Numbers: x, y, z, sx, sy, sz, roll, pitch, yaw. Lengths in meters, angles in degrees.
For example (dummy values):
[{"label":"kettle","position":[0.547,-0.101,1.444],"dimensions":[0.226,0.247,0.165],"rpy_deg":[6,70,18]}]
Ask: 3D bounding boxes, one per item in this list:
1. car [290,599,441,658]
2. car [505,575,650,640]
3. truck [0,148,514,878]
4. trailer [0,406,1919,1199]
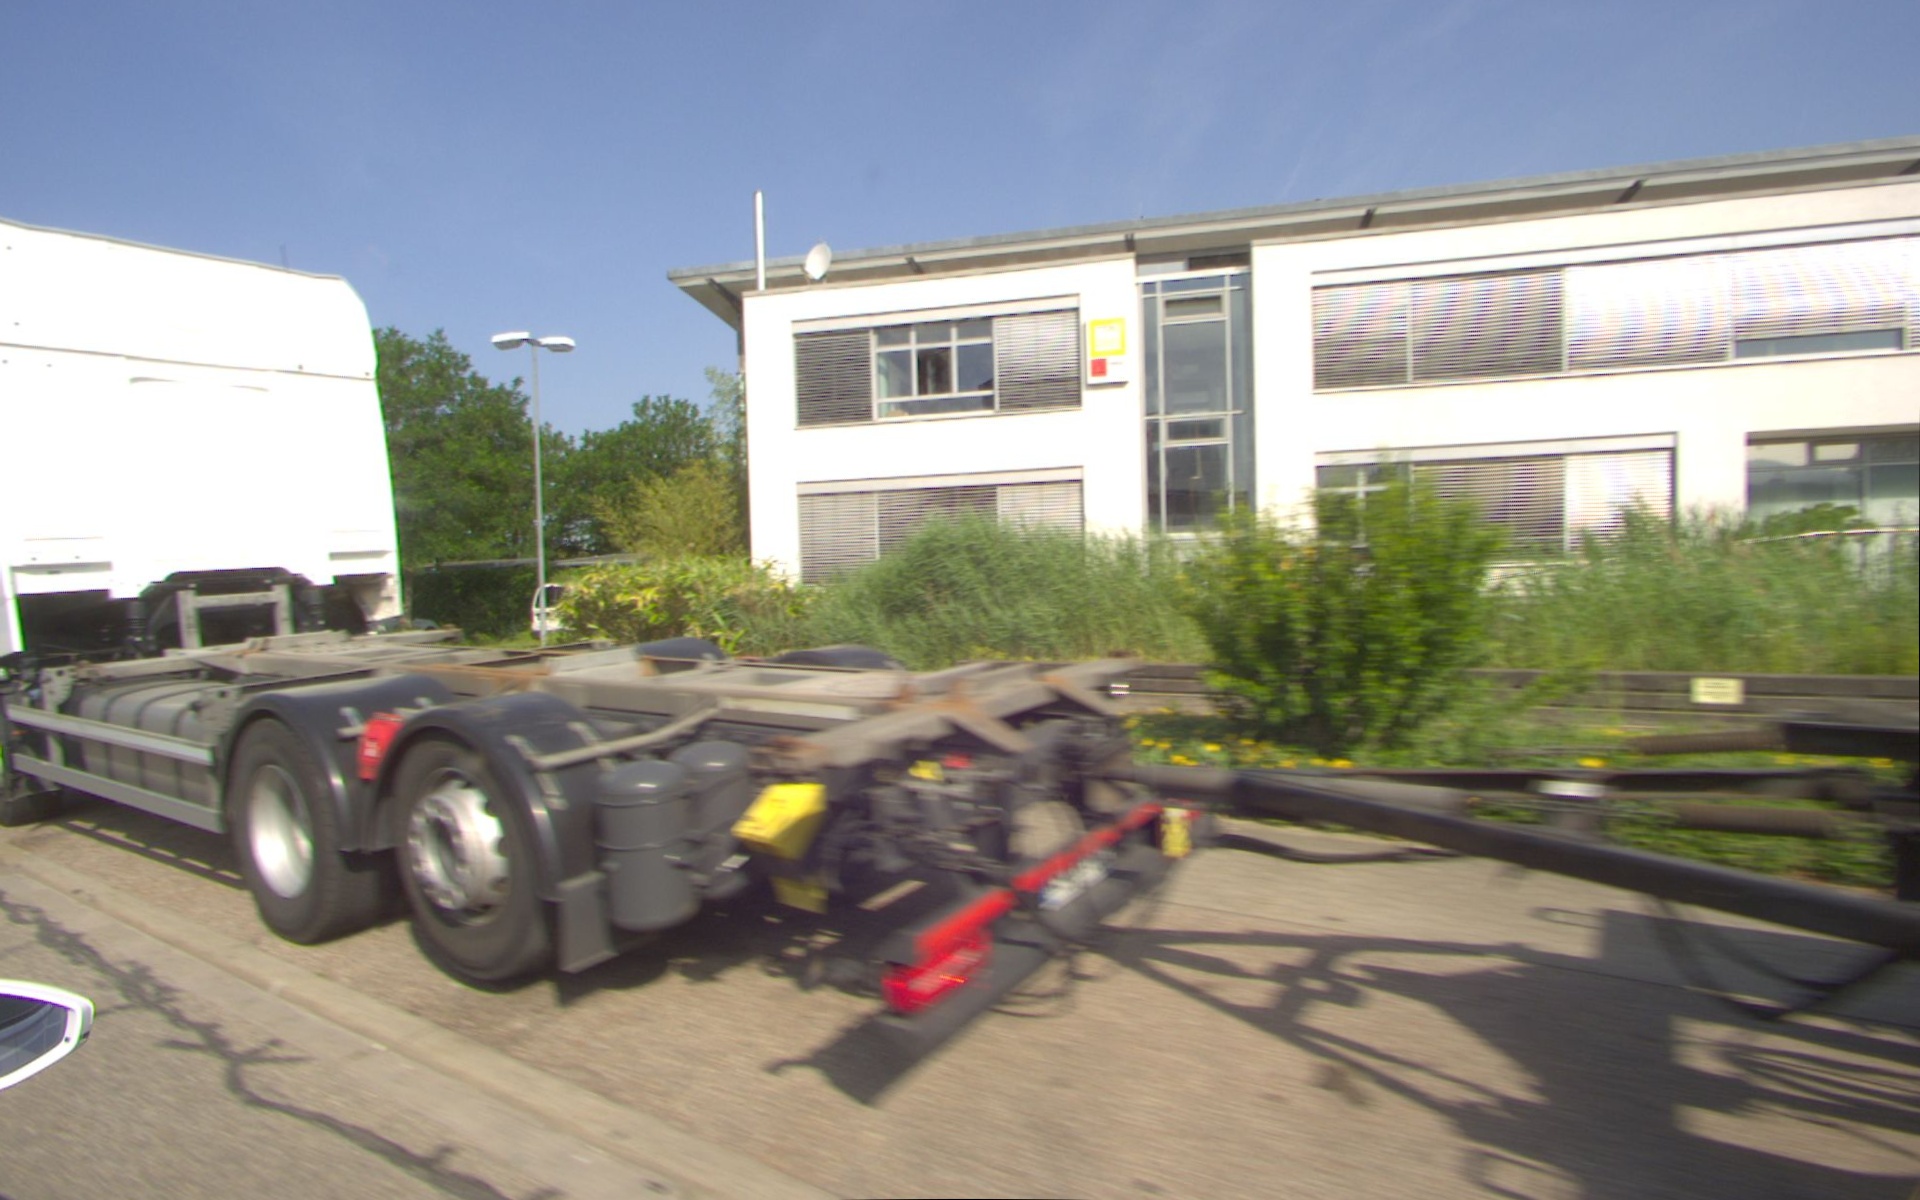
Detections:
[{"label":"car","position":[-18.633,0.897,31.622],"dimensions":[1.732,1.723,4.085],"rpy_deg":[-2,-2,14]},{"label":"car","position":[-11.085,0.249,29.287],"dimensions":[1.794,1.727,3.993],"rpy_deg":[-2,-2,19]},{"label":"truck","position":[-5.997,-0.496,7.799],"dimensions":[3.946,4.037,2.736],"rpy_deg":[-1,4,35]},{"label":"trailer","position":[1.366,0.504,2.721],"dimensions":[15.955,1.595,2.736],"rpy_deg":[-1,3,35]}]
